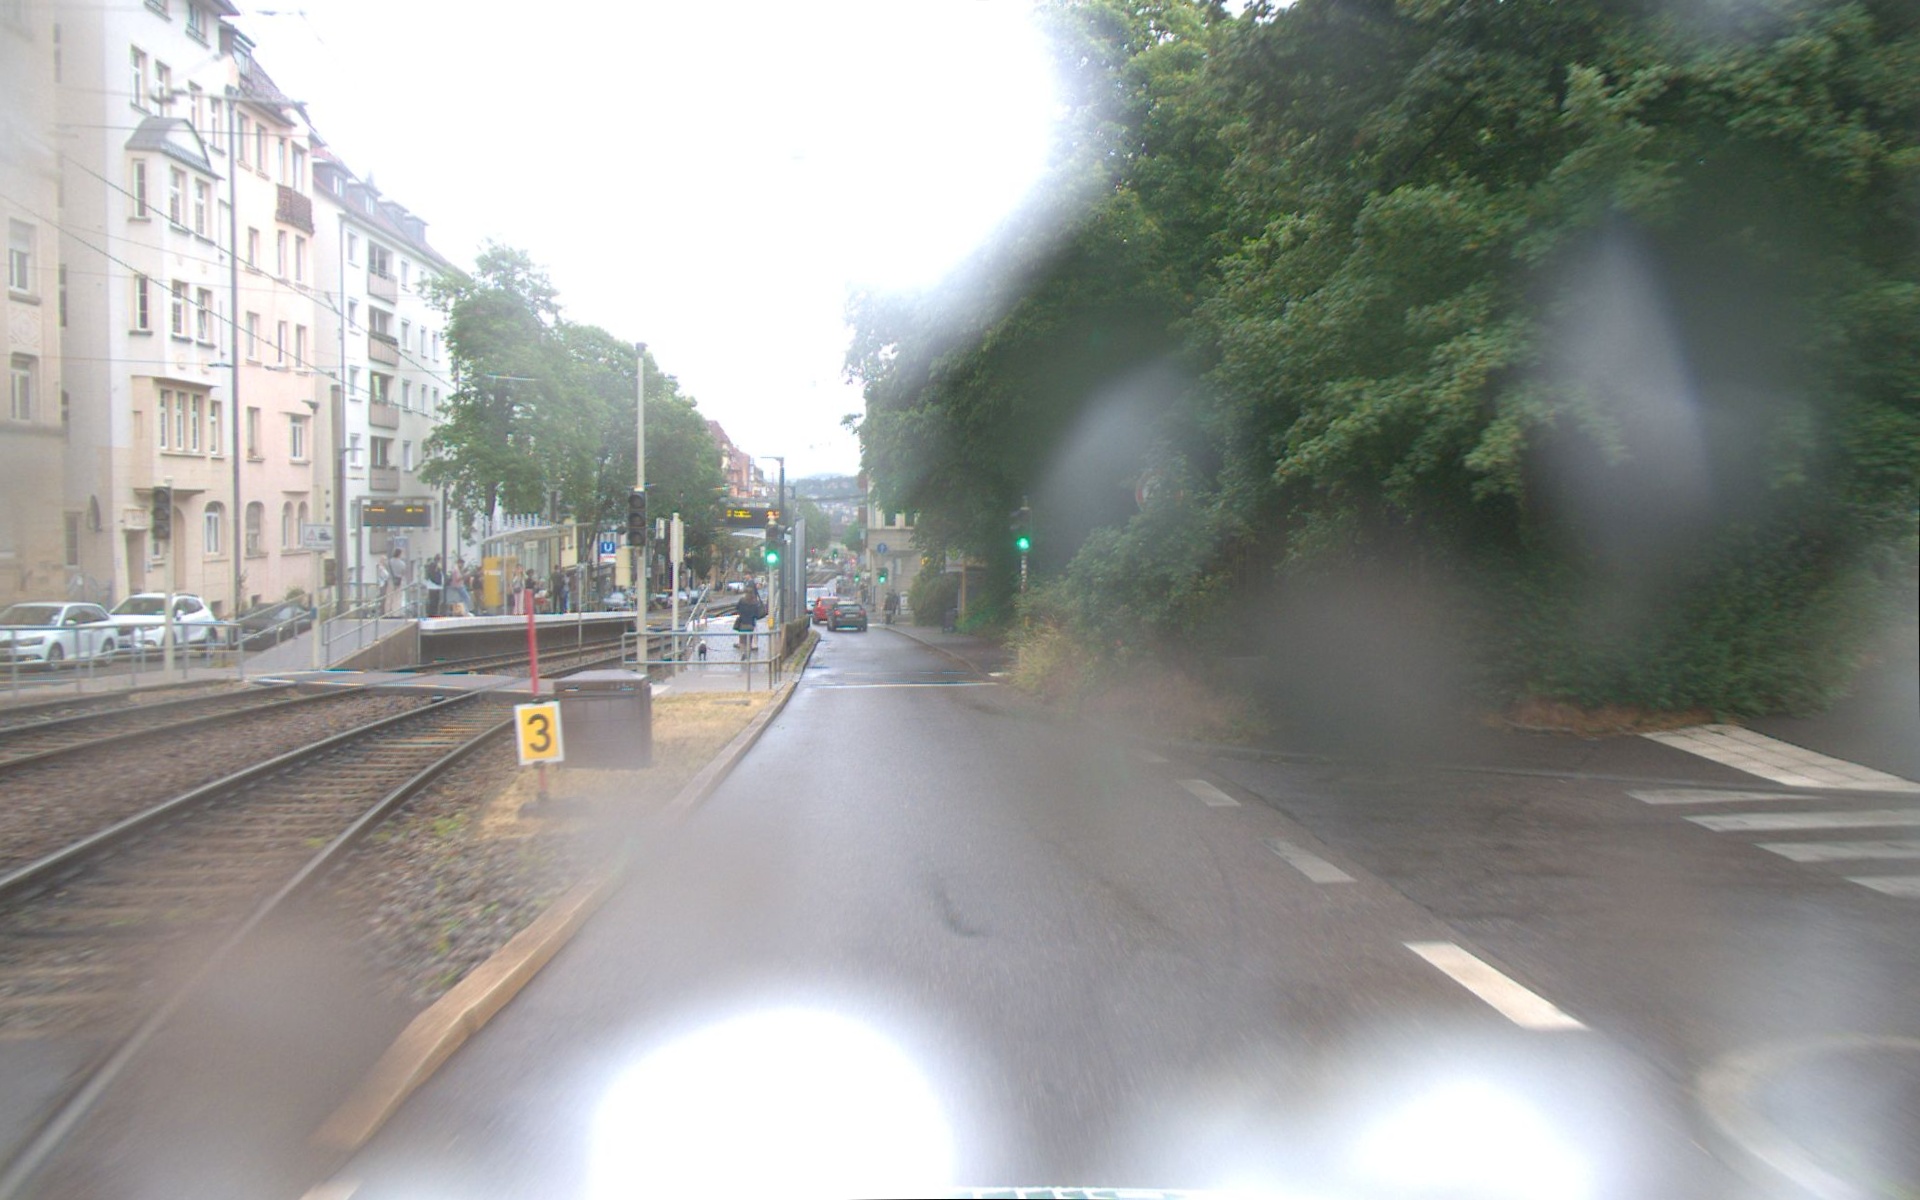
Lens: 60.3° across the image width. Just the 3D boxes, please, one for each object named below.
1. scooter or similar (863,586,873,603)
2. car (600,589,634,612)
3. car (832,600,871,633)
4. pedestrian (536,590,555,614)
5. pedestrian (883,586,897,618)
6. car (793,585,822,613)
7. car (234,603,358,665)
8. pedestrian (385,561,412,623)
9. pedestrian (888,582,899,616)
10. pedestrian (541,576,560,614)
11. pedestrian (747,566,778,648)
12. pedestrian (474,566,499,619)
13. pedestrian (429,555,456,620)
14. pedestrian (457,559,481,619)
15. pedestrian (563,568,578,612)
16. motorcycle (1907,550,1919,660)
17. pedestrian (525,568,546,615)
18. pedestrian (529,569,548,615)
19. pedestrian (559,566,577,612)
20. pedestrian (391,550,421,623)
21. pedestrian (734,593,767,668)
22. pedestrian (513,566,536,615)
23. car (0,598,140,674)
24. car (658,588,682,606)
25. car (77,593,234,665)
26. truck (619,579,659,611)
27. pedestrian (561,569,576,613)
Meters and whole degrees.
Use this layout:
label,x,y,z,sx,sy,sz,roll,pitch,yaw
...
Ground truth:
label,x,y,z,sx,sy,sz,roll,pitch,yaw
scooter or similar,-8.933,-0.505,160.301,0.901,1.632,0.861,-1,1,-8
car,-25.020,0.024,120.692,1.691,1.542,4.493,-1,1,-3
car,-5.437,0.814,82.360,1.816,1.499,3.996,-1,1,-5
pedestrian,-15.654,0.085,62.485,0.539,0.887,0.613,-2,0,-4
pedestrian,-3.808,0.127,90.190,0.682,1.724,0.555,0,0,-7
car,-10.287,-0.058,111.668,1.911,1.824,4.139,0,0,-6
car,-20.392,1.026,51.020,1.953,1.762,4.812,-2,-1,-1
pedestrian,-14.964,-0.204,44.065,0.506,1.633,0.562,-2,0,-4
pedestrian,-3.647,-0.067,90.831,0.543,1.845,0.650,0,0,-7
pedestrian,-15.694,-0.188,63.384,0.539,1.438,0.613,-2,0,-4
pedestrian,-4.423,0.160,37.105,0.637,1.815,0.847,-1,0,-4
pedestrian,-15.573,-0.240,54.417,0.582,1.695,0.761,-2,0,-4
pedestrian,-15.130,-0.351,48.362,0.506,1.870,0.761,-2,0,-4
pedestrian,-15.411,-0.337,51.888,0.506,1.870,0.761,-2,0,-4
pedestrian,-16.041,-0.400,68.098,0.473,1.771,0.563,-2,0,-4
motorcycle,13.201,0.088,21.995,0.808,1.399,2.422,4,2,34
pedestrian,-15.448,-0.308,60.214,0.582,1.695,0.591,-2,0,-4
pedestrian,-15.630,-0.300,61.330,0.539,1.695,0.613,-2,0,-4
pedestrian,-15.317,-0.421,64.670,0.539,1.771,0.613,-2,0,-4
pedestrian,-14.577,-0.345,43.518,0.550,1.882,0.598,-2,0,-4
pedestrian,-4.492,0.648,35.498,0.637,1.589,0.683,-1,0,-4
pedestrian,-15.224,-0.320,57.877,0.582,1.695,0.761,-2,0,-4
car,-20.117,0.782,36.471,1.954,1.560,4.529,1,-1,-3
car,-26.619,-0.277,151.962,1.738,1.573,4.251,-3,1,-4
car,-20.364,0.685,42.095,1.885,1.650,4.533,-2,0,-2
truck,-25.357,-0.383,130.846,2.009,2.435,6.320,-1,0,-1
pedestrian,-16.260,-0.377,68.671,0.473,1.771,0.563,-2,0,-4
